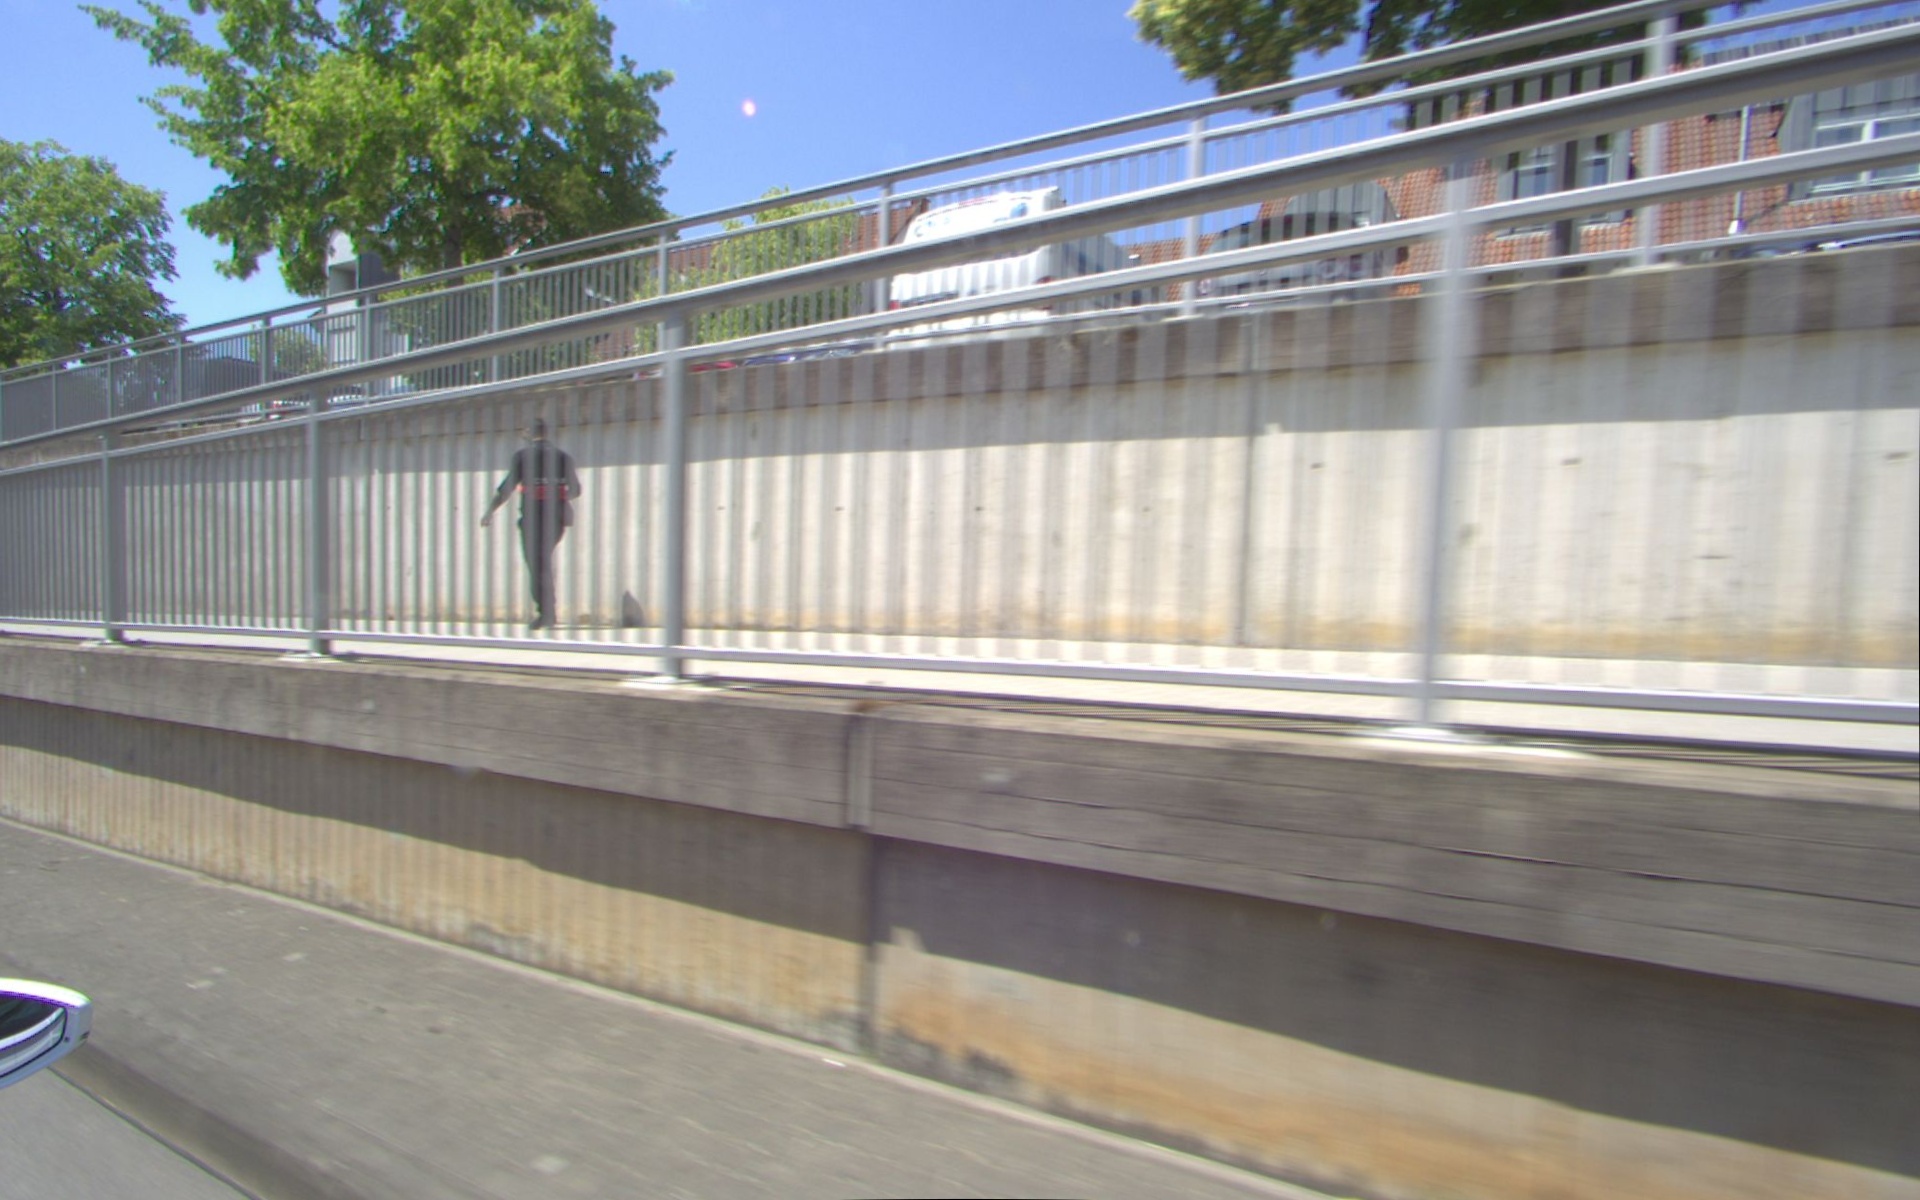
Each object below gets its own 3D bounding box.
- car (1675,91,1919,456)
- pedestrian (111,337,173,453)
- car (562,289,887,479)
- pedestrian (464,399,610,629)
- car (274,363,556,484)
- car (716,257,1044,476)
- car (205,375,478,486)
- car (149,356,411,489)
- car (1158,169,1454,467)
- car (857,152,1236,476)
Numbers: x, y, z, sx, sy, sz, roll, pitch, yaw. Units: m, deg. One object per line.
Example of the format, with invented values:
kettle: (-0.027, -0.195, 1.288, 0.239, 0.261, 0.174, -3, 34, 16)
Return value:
car: (6.579, -2.119, 7.466, 1.723, 1.519, 4.276, 3, 2, 32)
pedestrian: (-14.003, -3.485, 17.153, 0.585, 1.804, 0.671, 3, 3, 33)
car: (-2.906, -2.635, 13.229, 1.661, 1.618, 4.195, 3, 2, 32)
pedestrian: (-3.549, -0.678, 8.433, 0.777, 1.806, 0.834, 1, 1, 32)
car: (-9.055, -2.858, 16.944, 1.661, 1.386, 3.897, 3, 2, 32)
car: (-0.737, -2.518, 11.860, 1.661, 1.618, 4.195, 3, 2, 32)
car: (-11.094, -2.962, 18.218, 1.661, 1.386, 3.897, 3, 2, 32)
car: (-13.106, -3.321, 19.523, 1.661, 1.911, 3.897, 3, 2, 32)
car: (3.456, -2.329, 9.456, 1.661, 1.618, 4.195, 3, 2, 32)
car: (1.244, -2.694, 10.985, 1.960, 2.092, 5.101, 3, 2, 32)
